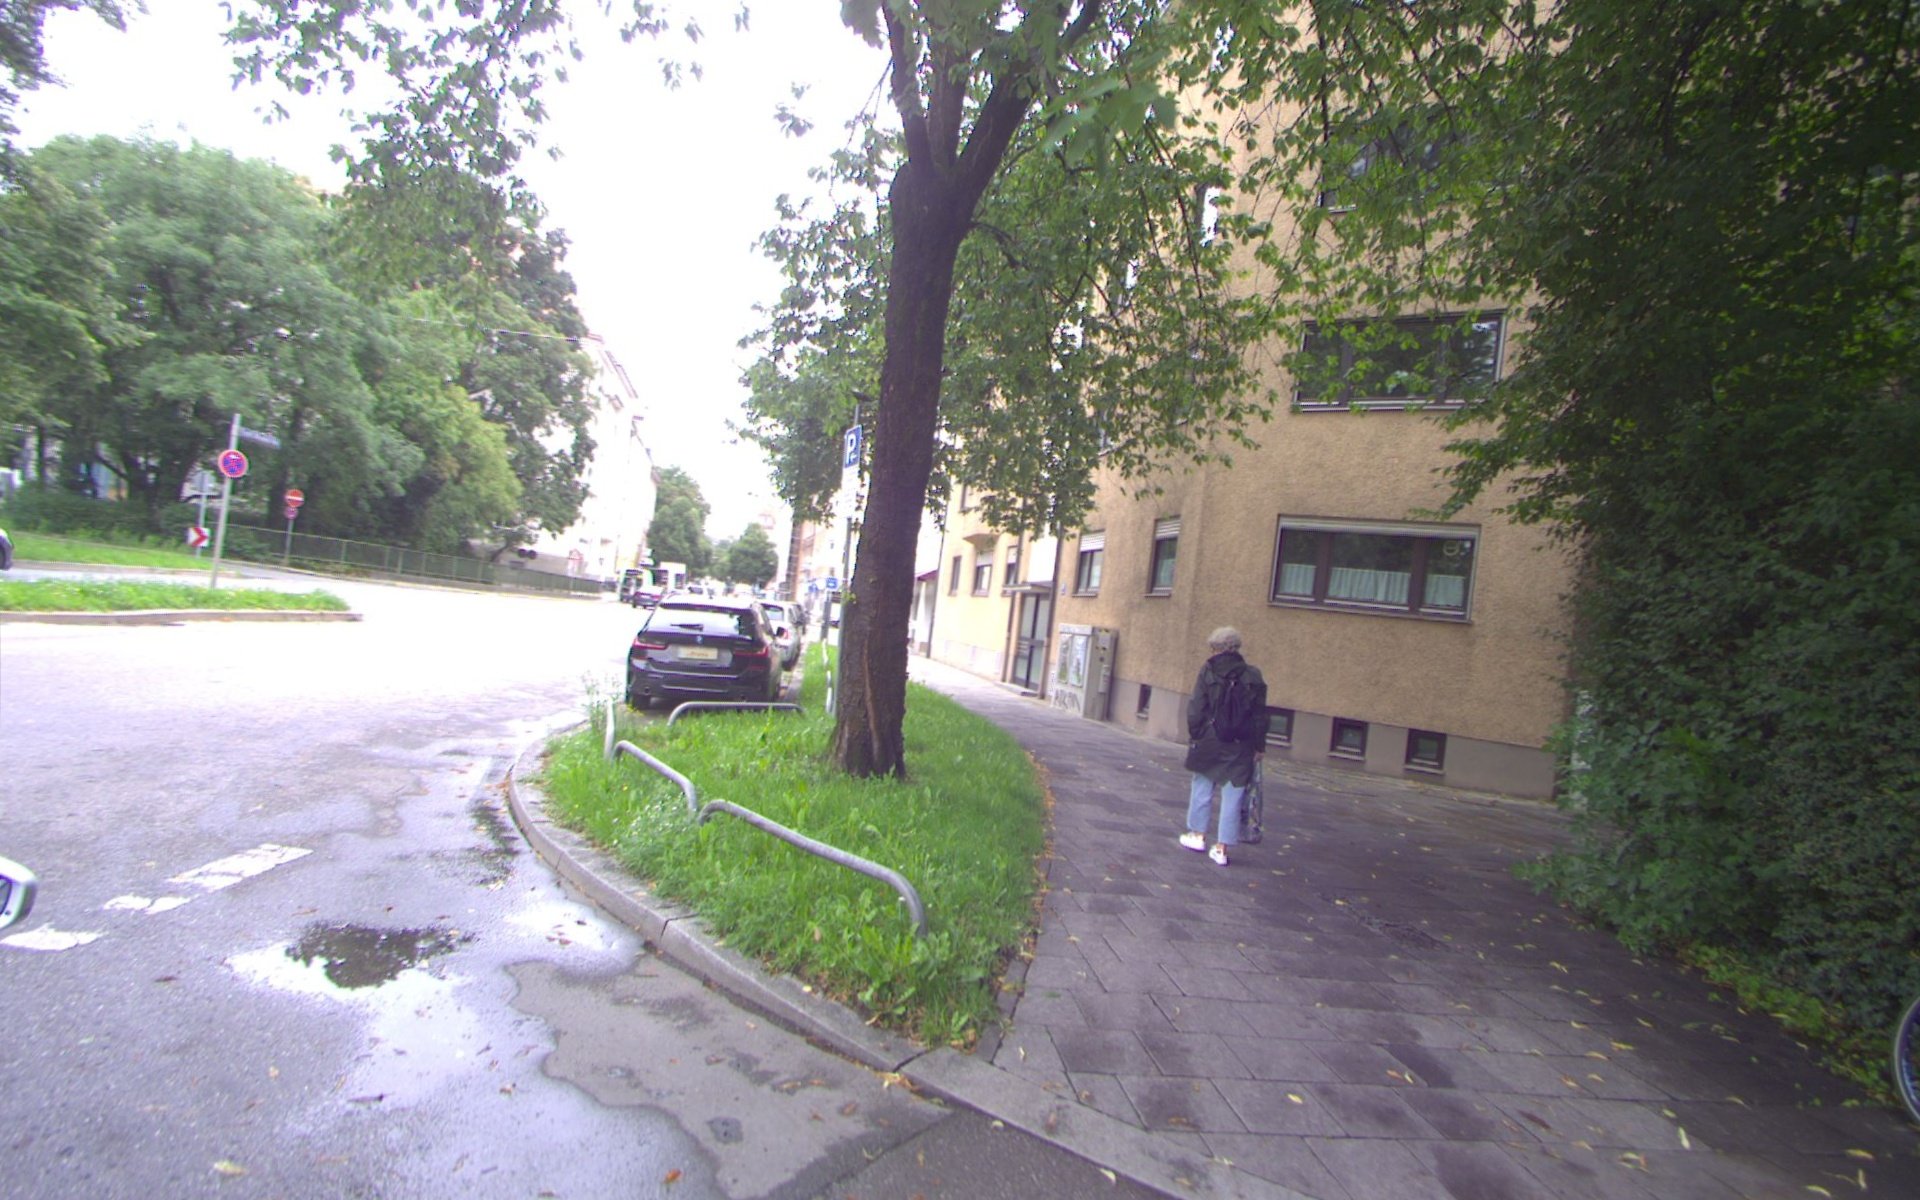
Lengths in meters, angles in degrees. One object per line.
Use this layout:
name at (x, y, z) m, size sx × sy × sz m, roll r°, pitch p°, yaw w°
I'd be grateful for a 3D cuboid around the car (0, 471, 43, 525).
car at (-45.950, -4.989, 47.283) m, size 2.276 × 2.297 × 5.105 m, roll 7°, pitch -1°, yaw -21°

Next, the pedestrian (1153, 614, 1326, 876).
pedestrian at (1.922, 0.963, 7.057) m, size 0.661 × 1.642 × 0.979 m, roll 7°, pitch -1°, yaw -8°

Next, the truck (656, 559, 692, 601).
truck at (-30.869, -2.073, 108.760) m, size 2.975 × 3.998 × 6.977 m, roll 8°, pitch -1°, yaw -14°

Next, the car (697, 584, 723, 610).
car at (-22.991, -0.301, 92.519) m, size 1.968 × 2.038 × 3.990 m, roll 7°, pitch 0°, yaw -12°

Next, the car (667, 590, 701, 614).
car at (-19.737, 0.128, 72.132) m, size 1.964 × 1.446 × 4.130 m, roll 7°, pitch 0°, yaw -12°

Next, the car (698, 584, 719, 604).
car at (-28.117, -0.661, 112.555) m, size 1.968 × 2.038 × 3.991 m, roll 7°, pitch -1°, yaw -13°

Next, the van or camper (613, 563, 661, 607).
van or camper at (-24.488, -1.143, 76.553) m, size 2.567 × 2.875 × 6.171 m, roll 7°, pitch 0°, yaw -12°

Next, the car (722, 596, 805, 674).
car at (-4.524, 0.767, 23.567) m, size 1.605 × 1.514 × 3.816 m, roll 6°, pitch -1°, yaw -8°

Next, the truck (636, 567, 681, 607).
truck at (-25.759, -1.119, 86.185) m, size 2.737 × 2.908 × 7.185 m, roll 7°, pitch 0°, yaw -12°

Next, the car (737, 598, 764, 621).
car at (-17.238, 0.782, 82.635) m, size 1.823 × 1.445 × 4.171 m, roll 11°, pitch -1°, yaw -14°

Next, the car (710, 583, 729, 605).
car at (-30.477, -0.721, 127.623) m, size 1.914 × 2.509 × 4.774 m, roll 8°, pitch -1°, yaw -11°

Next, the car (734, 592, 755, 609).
car at (-22.356, 0.049, 104.471) m, size 1.964 × 1.446 × 4.130 m, roll 7°, pitch 0°, yaw -12°

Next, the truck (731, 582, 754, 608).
truck at (-28.000, -0.620, 129.538) m, size 2.460 × 3.009 × 5.315 m, roll 7°, pitch -1°, yaw -13°

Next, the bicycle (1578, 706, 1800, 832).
bicycle at (8.886, 2.059, 12.269) m, size 2.392 × 1.232 × 0.702 m, roll 7°, pitch 0°, yaw -13°

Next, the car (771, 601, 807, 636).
car at (-9.383, 0.999, 55.358) m, size 1.732 × 1.699 × 4.701 m, roll 6°, pitch -1°, yaw -9°

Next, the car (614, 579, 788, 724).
car at (-3.275, 0.606, 13.492) m, size 1.766 × 1.515 × 4.370 m, roll 5°, pitch -1°, yaw -9°

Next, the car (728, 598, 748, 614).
car at (-25.028, 0.679, 113.595) m, size 1.964 × 1.446 × 4.130 m, roll 7°, pitch 0°, yaw -12°

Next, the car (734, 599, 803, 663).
car at (-5.281, 0.818, 28.127) m, size 1.605 × 1.514 × 3.782 m, roll 6°, pitch -1°, yaw -8°

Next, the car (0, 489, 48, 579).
car at (-17.080, -1.263, 15.831) m, size 1.733 × 1.478 × 4.074 m, roll 7°, pitch -1°, yaw -3°

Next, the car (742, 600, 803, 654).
car at (-6.088, 0.847, 33.068) m, size 1.667 × 1.514 × 4.429 m, roll 6°, pitch -1°, yaw -8°

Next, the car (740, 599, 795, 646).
car at (-7.251, 0.826, 38.171) m, size 1.732 × 1.514 × 4.482 m, roll 6°, pitch -1°, yaw -8°

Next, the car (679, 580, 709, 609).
car at (-21.936, -0.444, 83.162) m, size 1.964 × 2.100 × 4.130 m, roll 7°, pitch 0°, yaw -12°

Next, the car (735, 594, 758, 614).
car at (-20.502, 0.385, 96.563) m, size 1.823 × 1.445 × 4.294 m, roll 11°, pitch -1°, yaw -14°

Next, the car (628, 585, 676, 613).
car at (-19.051, -0.081, 62.402) m, size 1.963 × 1.446 × 4.897 m, roll 7°, pitch 0°, yaw -9°
